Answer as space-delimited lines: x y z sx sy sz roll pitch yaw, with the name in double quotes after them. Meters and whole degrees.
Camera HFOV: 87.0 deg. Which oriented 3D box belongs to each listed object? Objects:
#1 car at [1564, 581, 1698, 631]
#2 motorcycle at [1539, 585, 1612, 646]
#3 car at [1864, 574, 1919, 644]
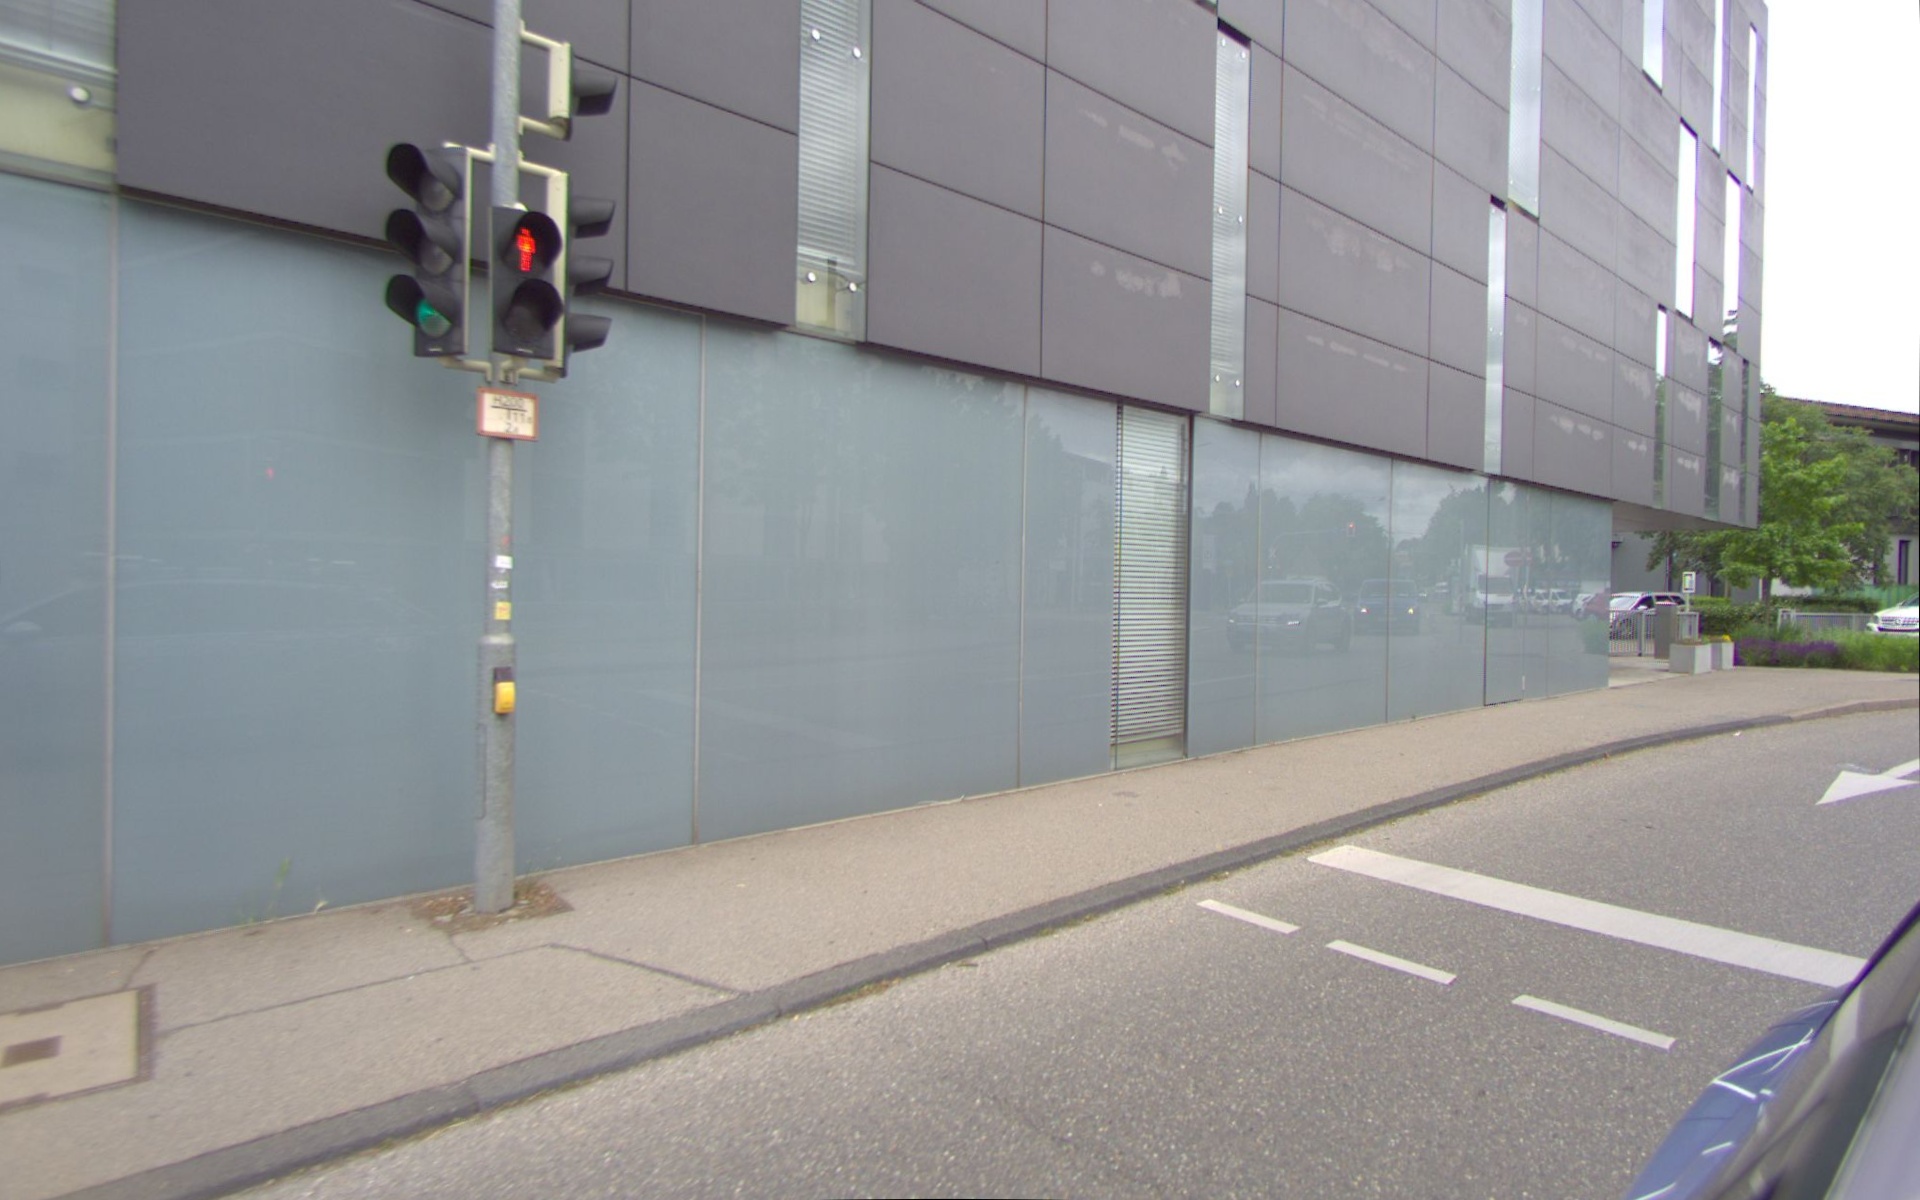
22.105 0.152 33.326 4.130 1.502 1.624 -1 2 -22 "car"
15.004 0.380 24.638 2.083 1.410 0.670 1 0 -34 "motorcycle"
26.383 0.239 26.457 4.622 1.779 1.862 1 1 -15 "car"
